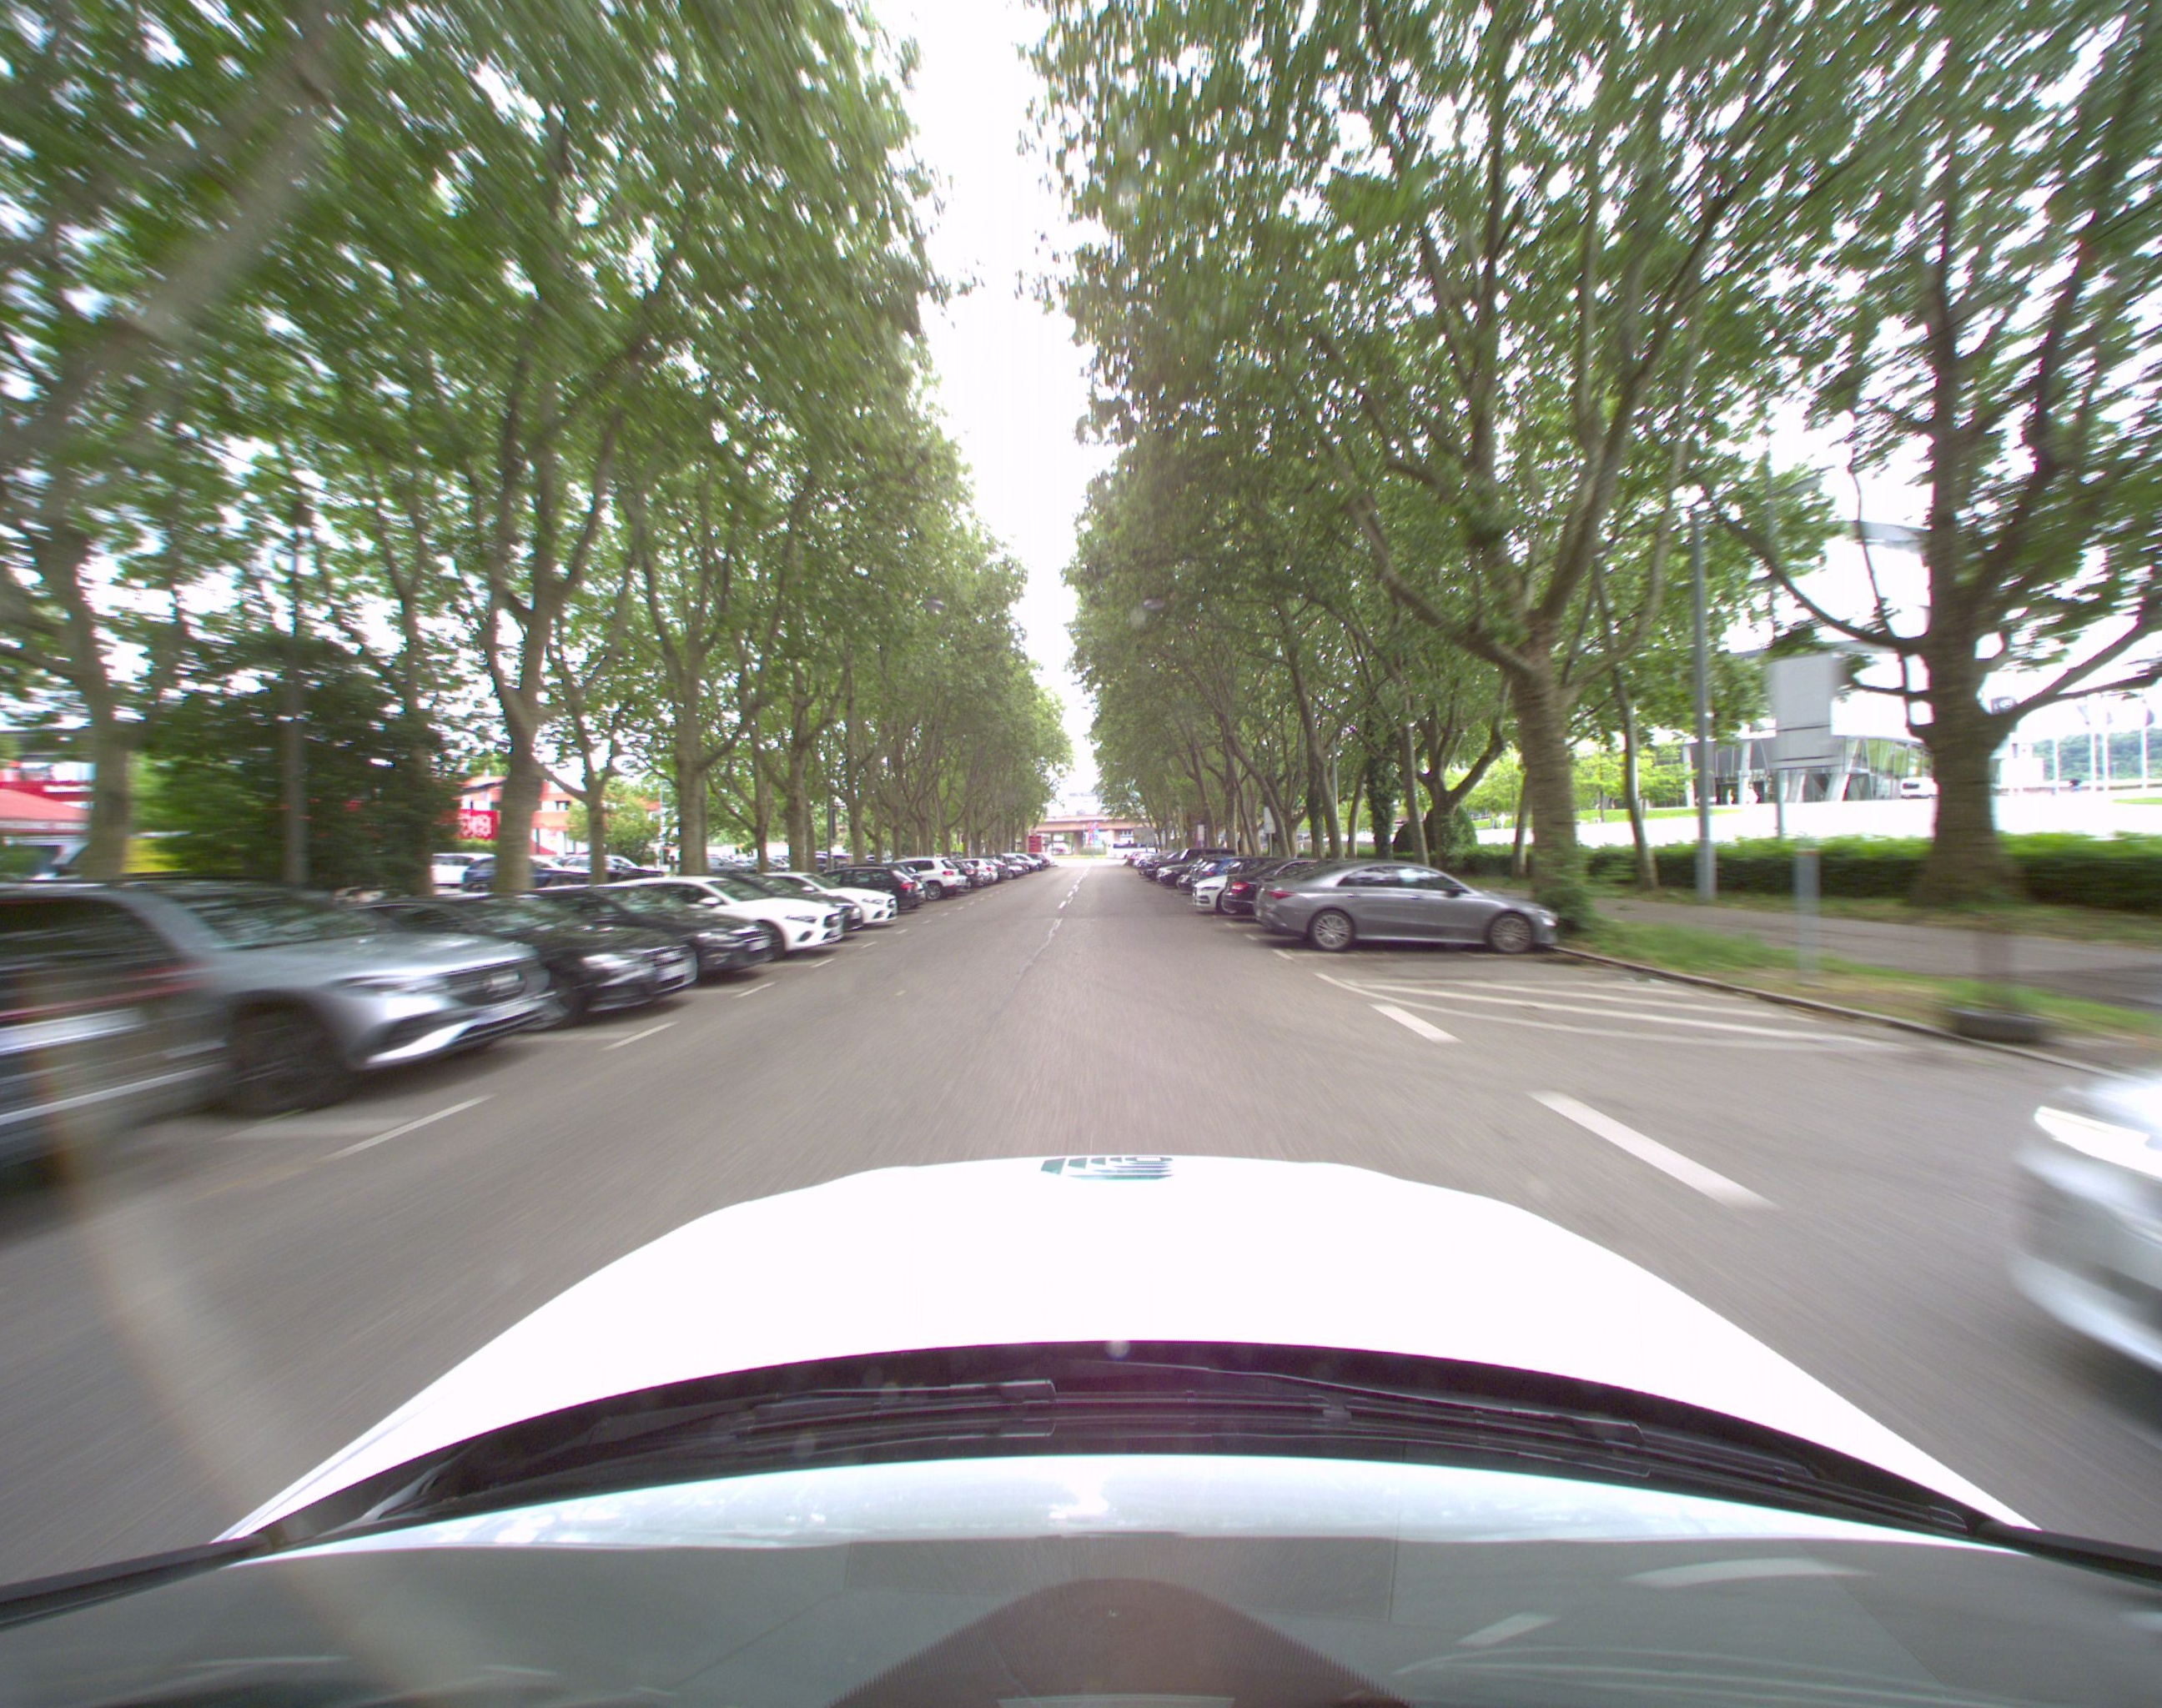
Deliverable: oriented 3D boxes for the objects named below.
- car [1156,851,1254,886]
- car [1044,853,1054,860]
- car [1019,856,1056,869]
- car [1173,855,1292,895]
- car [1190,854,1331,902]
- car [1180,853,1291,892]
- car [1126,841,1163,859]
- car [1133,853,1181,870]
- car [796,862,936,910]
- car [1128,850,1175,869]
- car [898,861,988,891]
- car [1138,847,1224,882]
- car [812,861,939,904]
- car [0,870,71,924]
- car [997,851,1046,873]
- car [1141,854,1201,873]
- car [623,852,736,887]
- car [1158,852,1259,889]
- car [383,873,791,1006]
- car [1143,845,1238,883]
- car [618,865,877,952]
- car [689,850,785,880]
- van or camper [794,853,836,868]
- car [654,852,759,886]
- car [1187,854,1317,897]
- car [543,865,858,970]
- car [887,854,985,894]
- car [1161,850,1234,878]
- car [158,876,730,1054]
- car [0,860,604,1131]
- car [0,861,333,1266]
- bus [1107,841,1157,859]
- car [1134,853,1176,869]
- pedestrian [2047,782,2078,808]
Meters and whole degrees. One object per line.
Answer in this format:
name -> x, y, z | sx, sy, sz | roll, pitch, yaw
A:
car -> 5.787, 0.655, 38.489 | 4.475, 1.572, 2.050 | 0, 0, 4
car -> -6.413, 0.526, 162.068 | 1.836, 1.510, 4.014 | 0, -1, 0
car -> -4.991, 0.963, 94.044 | 3.975, 1.385, 1.914 | 0, -1, 4
car -> 5.690, 0.794, 31.000 | 4.185, 1.456, 1.784 | 0, 0, -2
car -> 5.634, 0.735, 25.878 | 4.008, 1.447, 1.911 | 0, 0, -5
car -> 6.287, 0.737, 33.358 | 4.185, 1.518, 1.784 | 0, 0, -2
car -> 6.933, -0.460, 89.766 | 3.972, 2.013, 2.001 | 0, 0, 1
car -> 6.599, 0.663, 70.999 | 4.133, 1.458, 1.728 | 0, 0, 1
car -> -6.860, 1.008, 26.312 | 3.971, 1.453, 1.857 | 0, -1, 2
car -> 6.760, 0.487, 78.556 | 4.332, 1.761, 1.925 | 1, 0, -1
car -> -6.541, 1.054, 38.927 | 3.974, 1.369, 1.843 | 0, -1, -1
car -> 5.350, 0.545, 44.067 | 4.479, 1.796, 2.048 | 0, 0, 0
car -> -7.226, 0.987, 28.866 | 3.971, 1.453, 1.857 | 0, -1, 2
car -> -33.027, 1.251, 23.520 | 4.925, 1.521, 2.183 | 0, -1, 0
car -> -5.380, 0.716, 73.890 | 4.307, 1.810, 1.866 | -3, 0, -3
car -> 6.731, 0.694, 60.984 | 4.330, 1.413, 1.926 | 0, 0, 1
car -> -21.416, 0.834, 43.560 | 4.927, 1.797, 2.182 | 0, -1, -2
car -> 5.543, 0.697, 35.835 | 4.181, 1.518, 1.785 | 1, 0, 0
car -> -6.512, 1.092, 11.117 | 4.395, 1.395, 1.723 | -3, 0, -2
car -> 5.445, 0.494, 40.949 | 4.484, 1.866, 2.046 | 0, 0, -3
car -> -6.600, 1.061, 16.440 | 4.391, 1.417, 1.784 | -3, 0, 2
car -> -21.084, 0.684, 50.106 | 4.927, 1.797, 2.182 | 0, -1, -2
van or camper -> -32.284, 0.817, 98.821 | 4.306, 1.709, 2.132 | 0, -1, 0
car -> -21.219, 0.827, 46.327 | 4.927, 1.797, 2.182 | -1, 0, -2
car -> 5.943, 0.737, 28.660 | 4.185, 1.456, 1.784 | 0, 0, -2
car -> -6.247, 1.013, 13.760 | 4.394, 1.424, 1.776 | -3, 0, -1
car -> -6.392, 0.869, 36.136 | 3.971, 1.682, 1.856 | 0, -1, 2
car -> 7.718, 0.644, 54.103 | 4.488, 1.796, 2.044 | 0, 0, -5
car -> -6.469, 1.075, 8.773 | 4.397, 1.395, 2.046 | -3, 0, -2
car -> -6.604, 0.979, 6.394 | 4.397, 1.626, 2.046 | -3, 0, -2
car -> -6.623, 0.959, 3.687 | 4.397, 1.626, 2.046 | -3, 0, -2
bus -> 10.293, -0.796, 165.119 | 10.014, 3.398, 2.326 | -1, 0, -18
car -> 6.636, 0.606, 73.617 | 3.630, 1.427, 1.664 | 0, 0, -2
pedestrian -> 80.371, -4.821, 66.679 | 1.153, 2.014, 1.112 | -1, -1, 12
